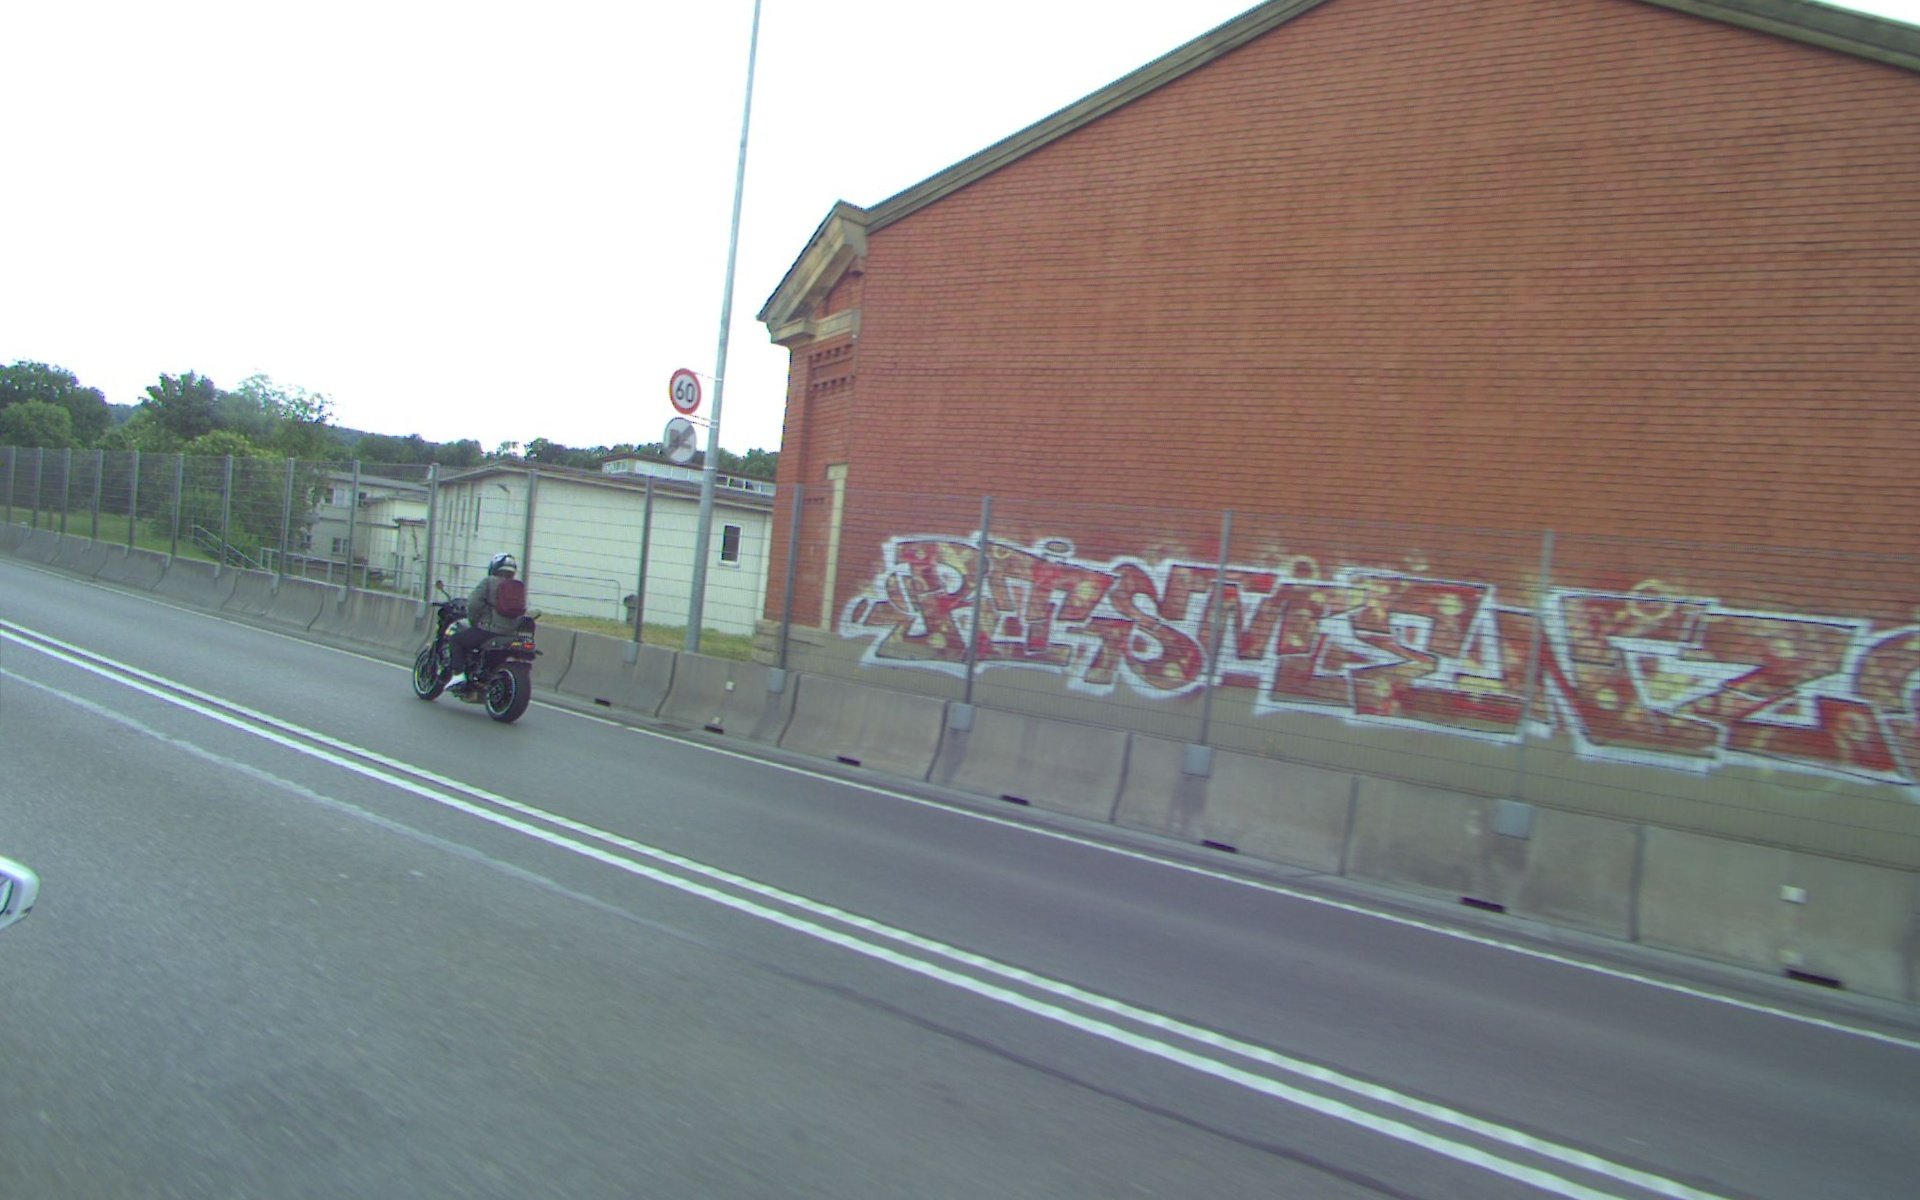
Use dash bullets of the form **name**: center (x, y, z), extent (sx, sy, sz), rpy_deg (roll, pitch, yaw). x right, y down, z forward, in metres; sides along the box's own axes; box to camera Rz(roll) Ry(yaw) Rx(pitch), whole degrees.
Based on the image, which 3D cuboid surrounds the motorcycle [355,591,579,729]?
- **motorcycle**: center (-5.227, 0.591, 10.592), extent (2.620, 1.097, 0.744), rpy_deg (6, 0, 31)

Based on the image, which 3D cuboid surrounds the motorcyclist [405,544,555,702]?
- **motorcyclist**: center (-4.997, 0.251, 10.499), extent (0.950, 1.495, 0.914), rpy_deg (7, 0, 31)
